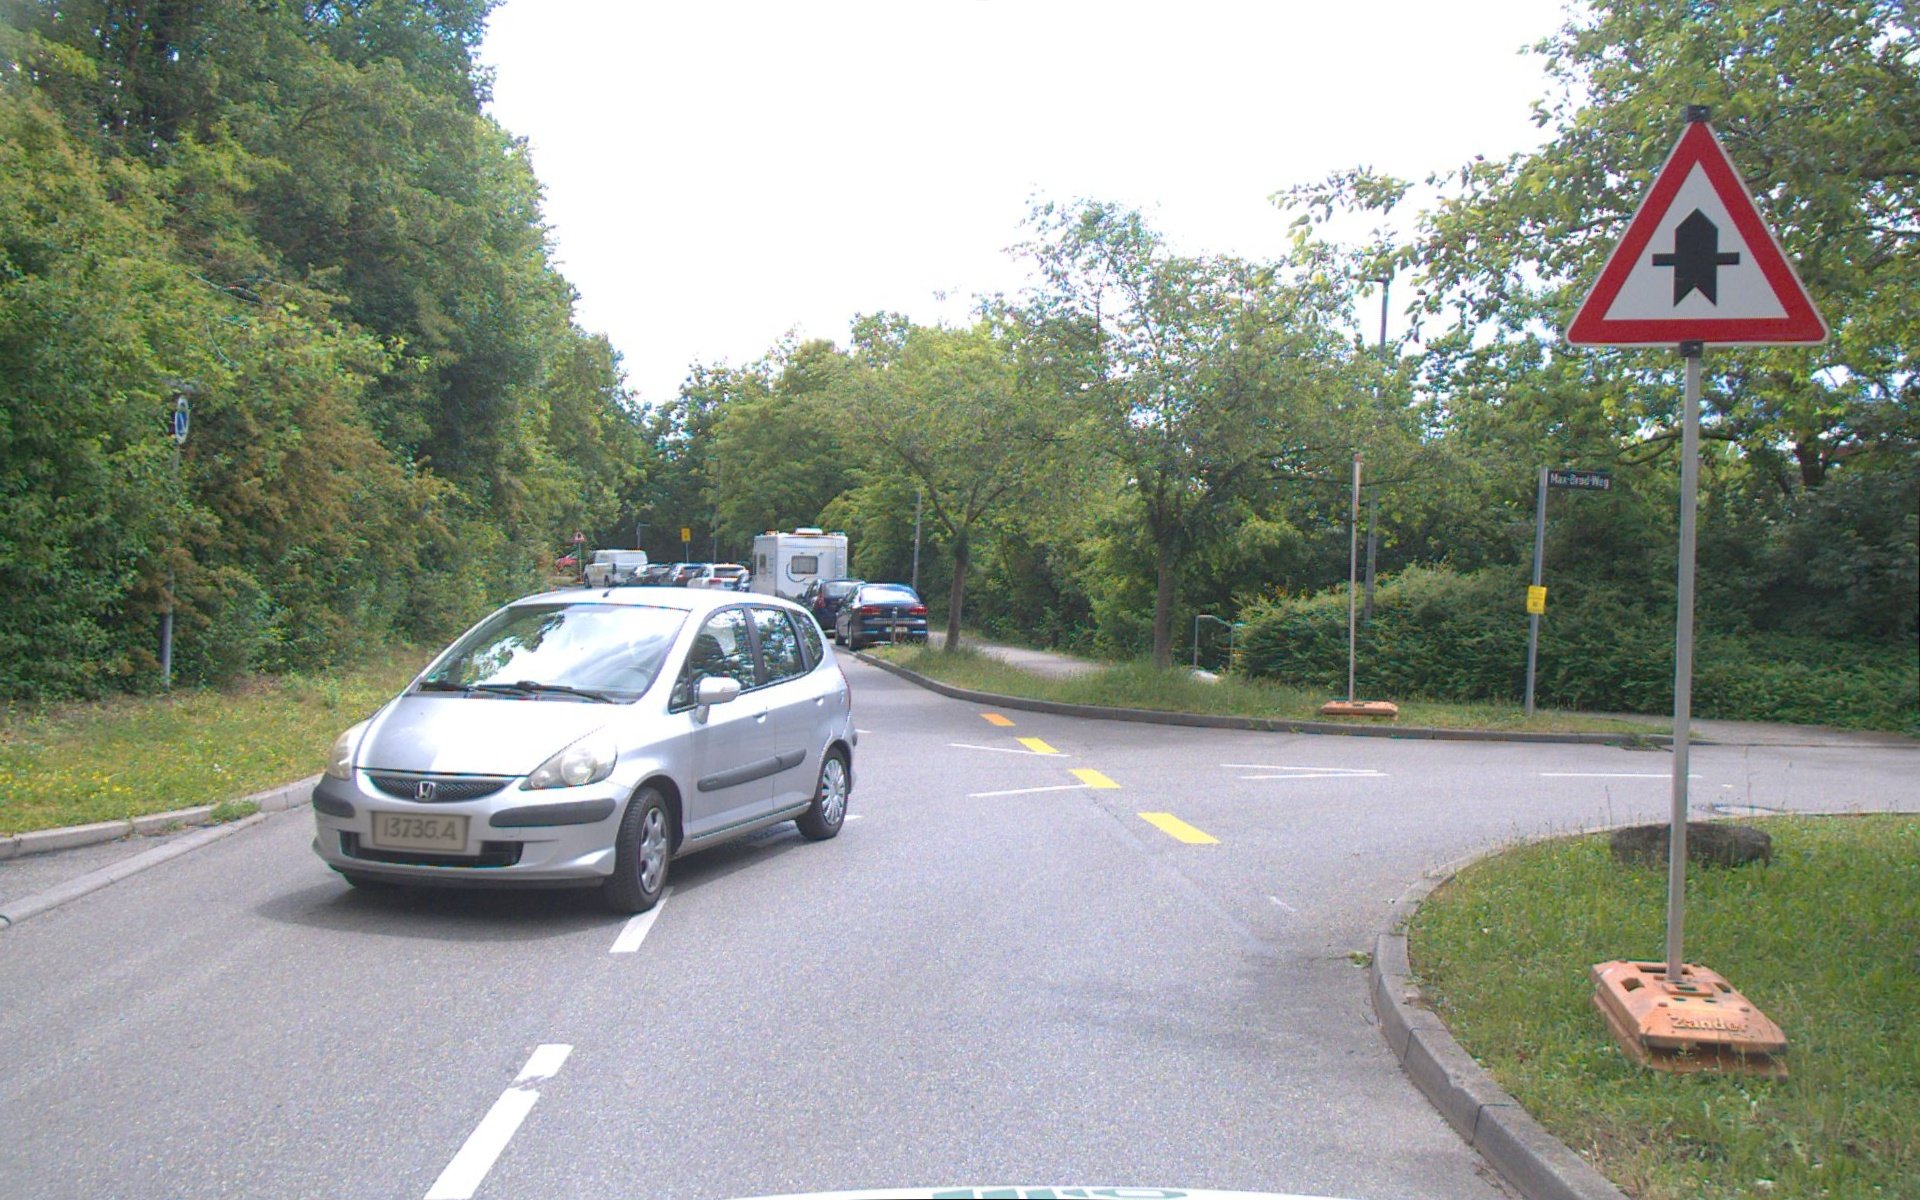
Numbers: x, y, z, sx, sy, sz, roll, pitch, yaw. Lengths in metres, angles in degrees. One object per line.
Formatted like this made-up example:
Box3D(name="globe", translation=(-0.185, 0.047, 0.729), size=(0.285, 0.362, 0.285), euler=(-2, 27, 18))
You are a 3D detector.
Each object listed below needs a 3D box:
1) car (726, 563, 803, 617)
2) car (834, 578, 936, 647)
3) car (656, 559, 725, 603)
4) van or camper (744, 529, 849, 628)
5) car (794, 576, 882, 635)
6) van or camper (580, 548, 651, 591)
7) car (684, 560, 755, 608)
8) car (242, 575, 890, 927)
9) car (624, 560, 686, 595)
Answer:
Box3D(name="car", translation=(-6.906, -0.384, 58.238), size=(1.687, 1.618, 3.977), euler=(-7, 4, -20))
Box3D(name="car", translation=(-1.790, 0.234, 38.042), size=(1.744, 1.459, 4.322), euler=(0, 1, -11))
Box3D(name="car", translation=(-11.513, -0.832, 70.465), size=(1.966, 1.654, 4.250), euler=(-2, 3, -22))
Box3D(name="van or camper", translation=(-5.273, -0.715, 52.439), size=(2.294, 2.919, 6.126), euler=(1, 1, -15))
Box3D(name="car", translation=(-3.371, 0.135, 45.058), size=(1.700, 1.545, 3.873), euler=(0, 0, -15))
Box3D(name="van or camper", translation=(-17.064, -1.561, 81.757), size=(1.973, 1.953, 5.214), euler=(-1, 3, -30))
Box3D(name="car", translation=(-9.489, -0.649, 64.929), size=(1.844, 1.718, 4.553), euler=(1, 2, -20))
Box3D(name="car", translation=(-1.888, 0.661, 9.124), size=(1.803, 1.481, 3.654), euler=(1, 0, 18))
Box3D(name="car", translation=(-14.155, -1.058, 76.619), size=(1.776, 1.489, 3.967), euler=(0, 2, -26))
